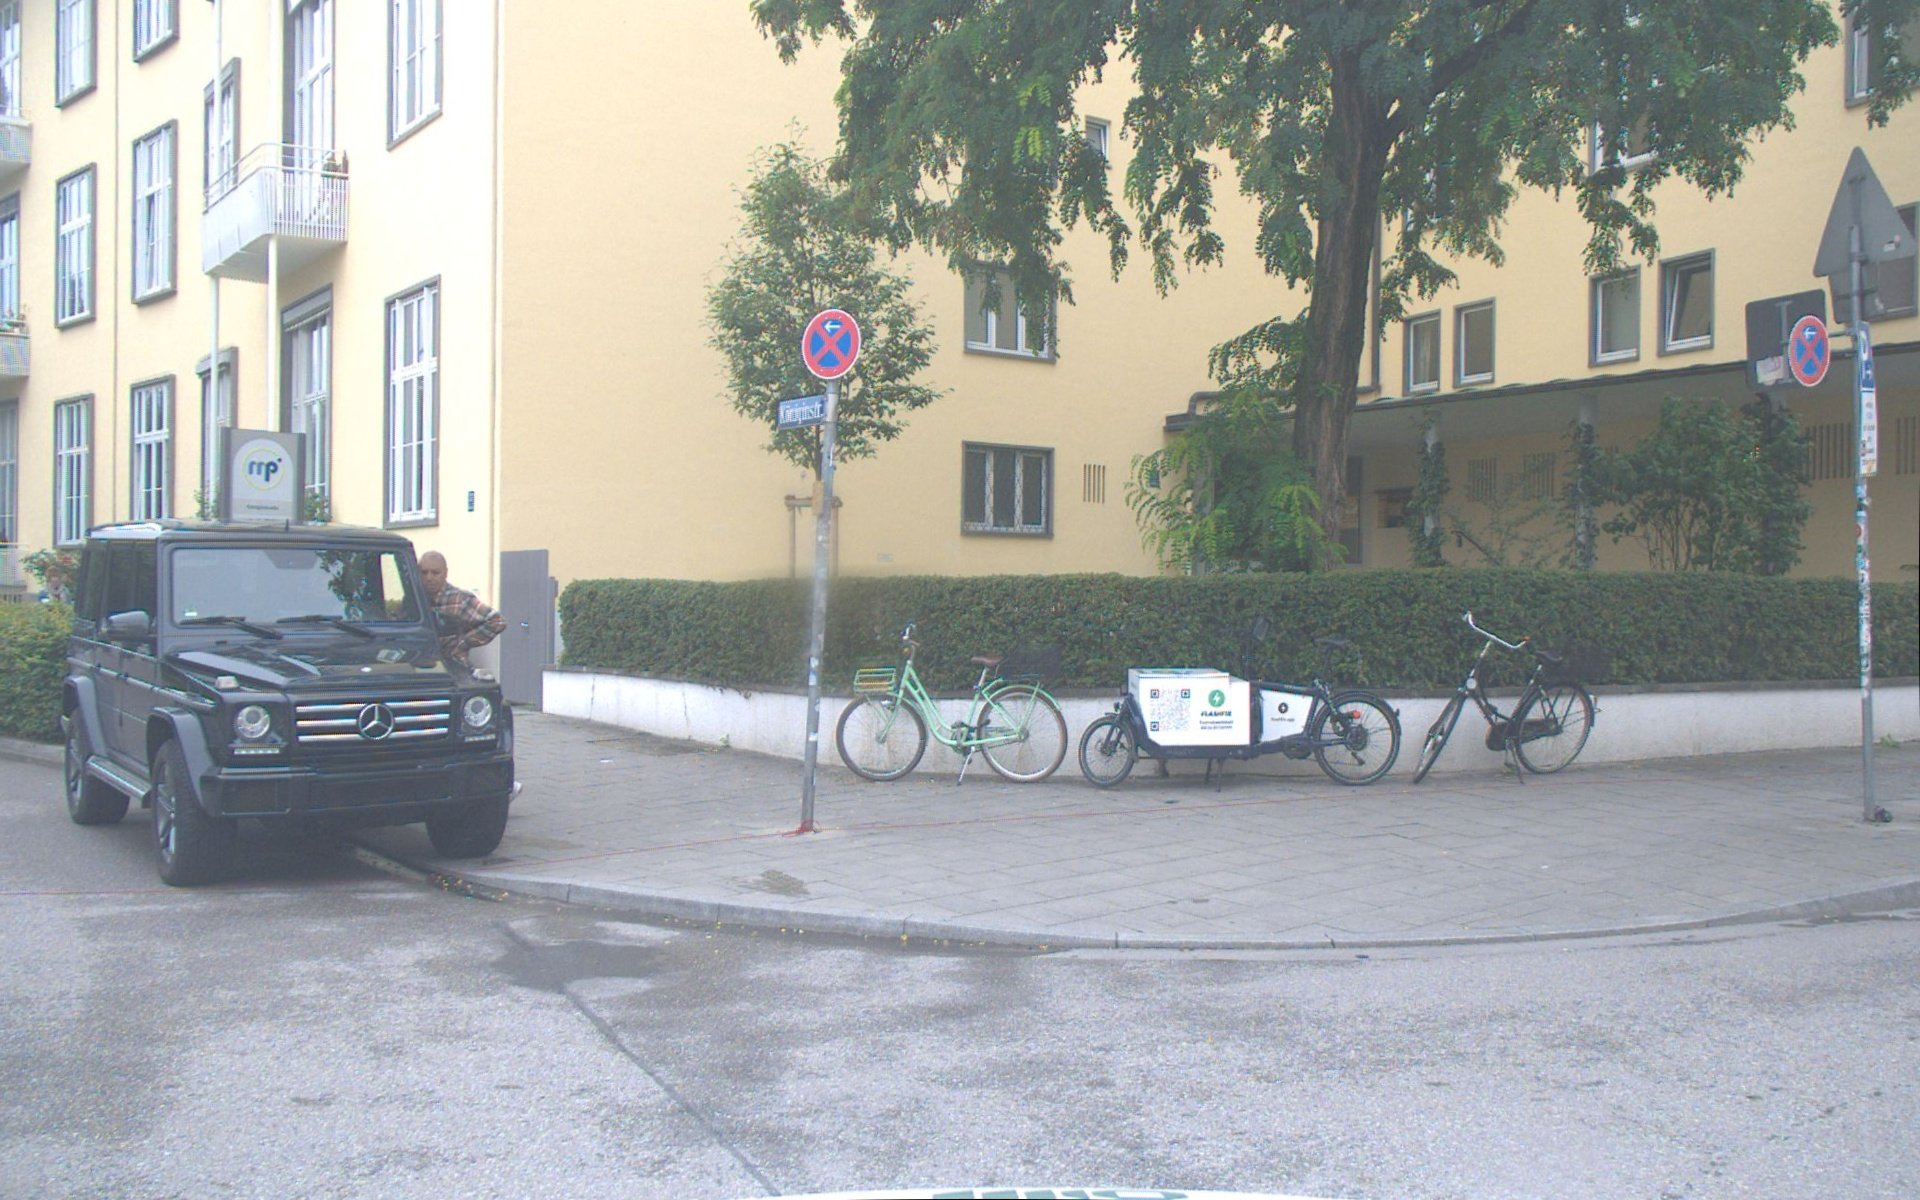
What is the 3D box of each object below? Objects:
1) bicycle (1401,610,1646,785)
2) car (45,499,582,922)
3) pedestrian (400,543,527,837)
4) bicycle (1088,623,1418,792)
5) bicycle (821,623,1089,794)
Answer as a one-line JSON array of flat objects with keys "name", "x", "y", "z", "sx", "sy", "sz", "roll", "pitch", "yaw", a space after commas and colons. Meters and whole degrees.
[{"name": "bicycle", "x": 4.232, "y": 0.699, "z": 12.406, "sx": 1.822, "sy": 1.231, "sz": 0.560, "roll": 0, "pitch": 1, "yaw": -22}, {"name": "car", "x": -4.197, "y": 0.531, "z": 10.286, "sx": 1.916, "sy": 2.036, "sz": 4.359, "roll": 1, "pitch": 0, "yaw": -38}, {"name": "pedestrian", "x": -3.205, "y": 0.560, "z": 10.717, "sx": 0.626, "sy": 1.830, "sz": 0.560, "roll": -2, "pitch": 1, "yaw": -6}, {"name": "bicycle", "x": 2.064, "y": 0.755, "z": 11.818, "sx": 2.243, "sy": 1.145, "sz": 0.583, "roll": 0, "pitch": 2, "yaw": -1}, {"name": "bicycle", "x": -0.049, "y": 0.771, "z": 12.283, "sx": 1.907, "sy": 1.176, "sz": 0.583, "roll": 0, "pitch": 2, "yaw": 25}]
